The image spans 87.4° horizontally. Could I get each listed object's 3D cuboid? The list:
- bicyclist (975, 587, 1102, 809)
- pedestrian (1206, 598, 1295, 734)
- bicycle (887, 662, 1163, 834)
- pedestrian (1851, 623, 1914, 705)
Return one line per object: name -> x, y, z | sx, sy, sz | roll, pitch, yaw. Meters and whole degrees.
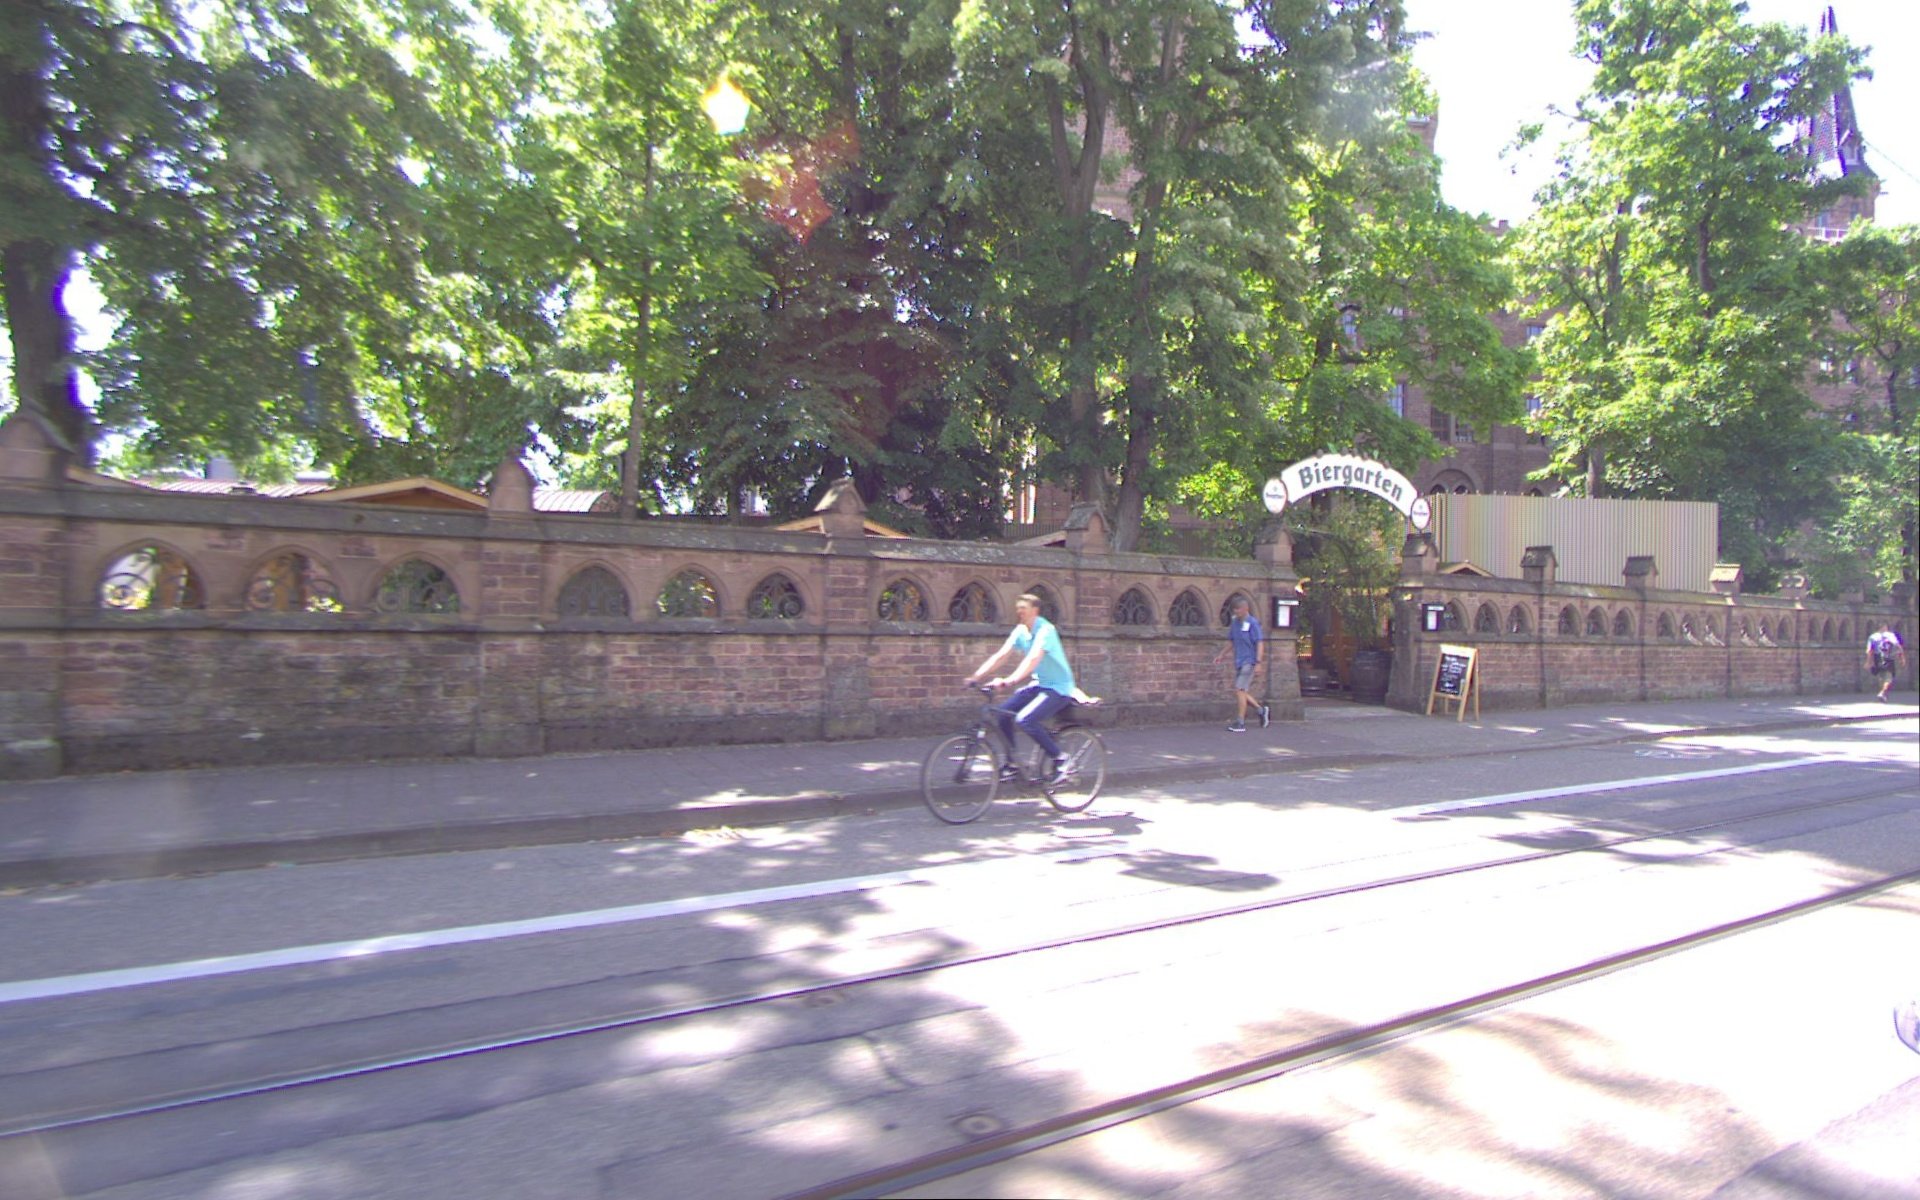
bicyclist -> 0.637, 0.764, 8.195 | 0.805, 1.701, 0.638 | 2, -1, -31
pedestrian -> 3.889, 0.863, 13.460 | 0.857, 1.751, 0.739 | 2, -1, -30
bicycle -> 0.556, 1.113, 8.071 | 2.214, 1.219, 0.697 | 2, -3, -31
pedestrian -> 20.803, 1.421, 22.650 | 0.914, 1.794, 0.811 | 2, -1, -30
